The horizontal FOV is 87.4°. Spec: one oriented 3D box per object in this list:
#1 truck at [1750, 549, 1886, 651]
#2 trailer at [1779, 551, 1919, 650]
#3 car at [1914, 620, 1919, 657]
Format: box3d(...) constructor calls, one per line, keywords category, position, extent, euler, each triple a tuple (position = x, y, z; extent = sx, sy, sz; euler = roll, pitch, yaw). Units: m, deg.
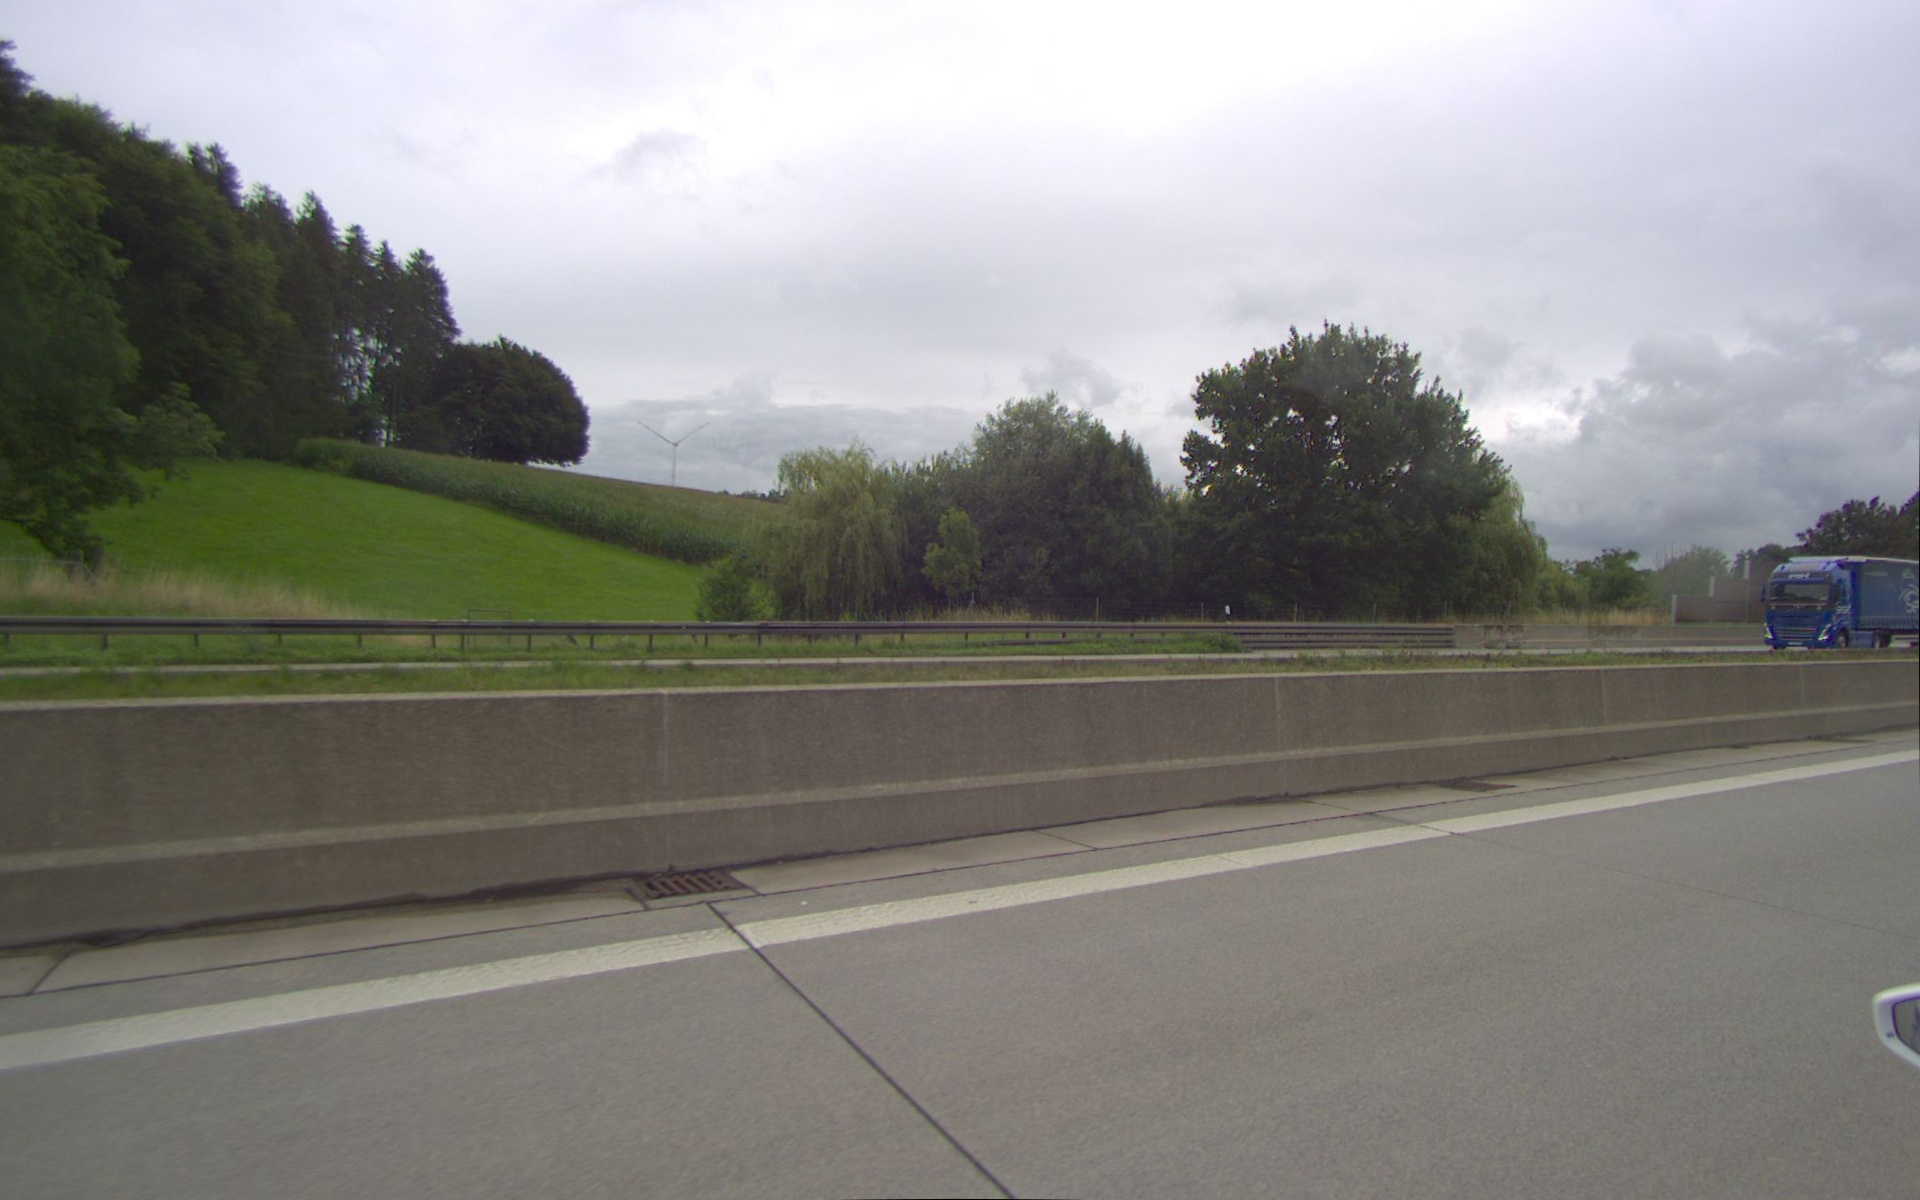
box3d(category="truck", position=(38.103, 0.013, 44.558), extent=(6.138, 4.244, 2.678), euler=(1, 1, -31))
box3d(category="trailer", position=(43.818, 0.124, 48.035), extent=(13.635, 4.264, 2.696), euler=(1, 1, -31))
box3d(category="car", position=(41.204, 1.606, 41.434), extent=(4.468, 1.520, 1.627), euler=(1, 1, -32))
